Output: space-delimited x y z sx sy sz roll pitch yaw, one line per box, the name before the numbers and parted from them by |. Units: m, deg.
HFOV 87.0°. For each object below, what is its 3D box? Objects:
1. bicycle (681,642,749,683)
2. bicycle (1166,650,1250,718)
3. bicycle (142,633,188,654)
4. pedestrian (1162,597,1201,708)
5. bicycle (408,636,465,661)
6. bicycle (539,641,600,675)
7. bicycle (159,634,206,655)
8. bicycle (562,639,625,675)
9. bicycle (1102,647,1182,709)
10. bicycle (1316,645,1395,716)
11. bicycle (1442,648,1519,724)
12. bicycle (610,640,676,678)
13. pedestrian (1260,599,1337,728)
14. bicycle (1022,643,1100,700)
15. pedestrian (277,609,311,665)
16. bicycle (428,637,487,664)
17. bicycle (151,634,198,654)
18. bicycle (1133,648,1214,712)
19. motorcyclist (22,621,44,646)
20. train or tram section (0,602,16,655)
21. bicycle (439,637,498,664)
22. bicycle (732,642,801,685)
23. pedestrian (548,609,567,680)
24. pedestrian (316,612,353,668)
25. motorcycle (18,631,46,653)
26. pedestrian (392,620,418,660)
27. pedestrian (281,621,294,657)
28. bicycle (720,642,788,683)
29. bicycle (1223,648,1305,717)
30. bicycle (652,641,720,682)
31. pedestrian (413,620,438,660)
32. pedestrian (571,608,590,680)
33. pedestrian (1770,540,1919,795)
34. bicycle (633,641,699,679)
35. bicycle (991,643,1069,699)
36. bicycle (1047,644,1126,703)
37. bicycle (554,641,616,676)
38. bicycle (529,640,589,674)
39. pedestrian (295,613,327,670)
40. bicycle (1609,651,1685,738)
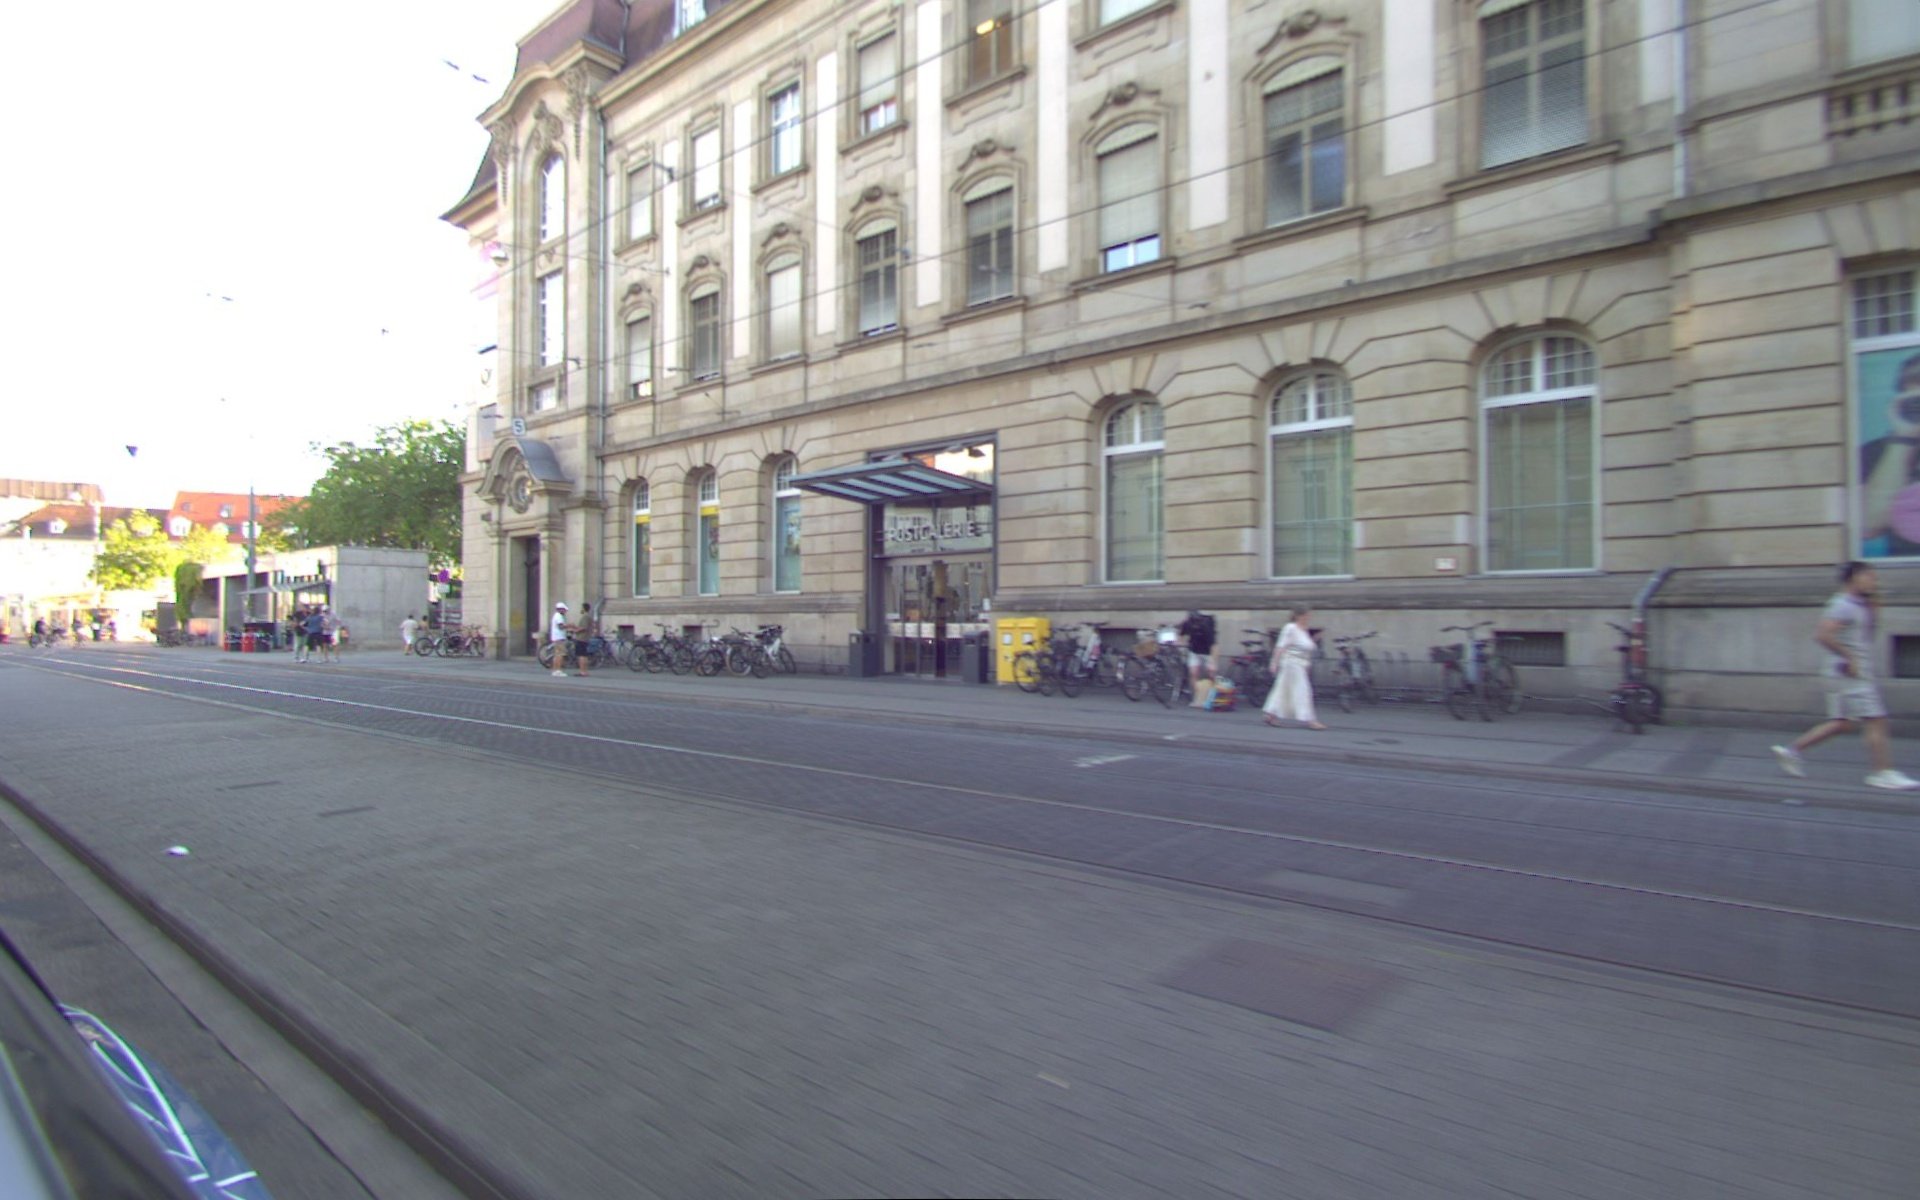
bicycle | -5.770 1.458 23.886 1.557 0.880 0.451 -1 0 -45
bicycle | 3.704 1.228 15.046 1.557 0.880 0.451 -1 0 -45
bicycle | -48.010 2.623 61.119 0.692 1.168 2.104 -2 -2 42
pedestrian | 3.332 0.776 15.210 0.360 1.646 0.430 0 -1 -43
bicycle | -19.703 1.813 38.138 0.634 0.875 1.817 -1 0 38
bicycle | -11.079 1.625 28.742 1.557 0.880 0.451 -1 0 -45
bicycle | -45.354 2.582 59.064 0.692 1.168 2.104 -2 -2 42
bicycle | -9.883 1.521 27.297 1.557 0.880 0.451 -1 0 -45
bicycle | 2.940 1.230 16.304 1.557 0.880 0.451 -1 0 -45
bicycle | 5.645 1.123 14.415 1.557 0.880 0.451 -1 0 -45
bicycle | 6.897 1.109 13.381 1.557 0.880 0.451 -1 0 -45
bicycle | -8.118 1.494 25.954 1.557 0.880 0.451 -1 0 -45
pedestrian | 4.018 0.737 12.026 0.683 1.477 0.557 0 -2 -37
bicycle | 1.756 1.220 17.507 1.557 0.880 0.451 -1 0 -45
pedestrian | -20.887 1.163 31.751 0.593 1.750 0.643 -1 -3 31
bicycle | -18.210 1.809 36.721 0.634 0.875 1.817 -1 0 38
bicycle | -46.611 2.602 60.085 0.692 1.168 2.104 -2 -2 42
bicycle | 3.350 1.234 15.806 1.557 0.880 0.451 -1 0 -45
motorcyclist | -54.409 1.961 59.401 0.786 1.450 0.803 -1 0 -28
train or tram section | -73.014 2.161 75.119 13.472 3.714 2.865 -2 -2 41
bicycle | -17.620 1.800 36.299 0.634 0.875 1.817 -1 0 38
bicycle | -4.383 1.437 23.004 1.557 0.880 0.451 -1 0 -45
pedestrian | -9.550 1.045 24.021 0.370 1.643 0.495 -1 0 -15
pedestrian | -19.641 1.254 31.789 0.675 1.750 0.672 -1 -3 19
motorcycle | -54.417 2.464 59.381 0.792 1.247 1.785 -1 0 -28
pedestrian | -21.689 1.556 39.551 0.679 1.573 0.653 -2 -2 37
pedestrian | -31.951 1.851 48.056 0.400 1.665 0.389 -1 0 35
bicycle | -4.791 1.444 23.632 1.557 0.880 0.451 -1 0 -45
bicycle | 4.454 1.186 14.790 1.557 0.880 0.451 -1 0 -45
bicycle | -6.601 1.470 24.443 1.557 0.880 0.451 -1 0 -45
pedestrian | -21.151 1.583 40.054 0.679 1.573 0.653 -2 -2 37
pedestrian | -9.027 1.038 24.081 0.370 1.686 0.495 -1 0 -17
pedestrian | 6.899 0.490 7.791 0.682 1.826 0.817 0 -2 -31
bicycle | -7.415 1.500 25.575 1.557 0.880 0.451 -1 0 -45
bicycle | 1.248 1.237 17.907 1.557 0.880 0.451 -1 0 -45
bicycle | 2.156 1.223 17.075 1.557 0.880 0.451 -1 0 -45
bicycle | -10.403 1.614 28.118 1.557 0.880 0.451 -1 0 -45
bicycle | -11.506 1.632 29.072 1.557 0.880 0.451 -1 0 -45
pedestrian | -20.055 1.283 31.263 0.675 1.750 0.480 -1 -3 18
bicycle | 8.090 1.077 11.896 1.557 0.880 0.451 -1 0 -45
